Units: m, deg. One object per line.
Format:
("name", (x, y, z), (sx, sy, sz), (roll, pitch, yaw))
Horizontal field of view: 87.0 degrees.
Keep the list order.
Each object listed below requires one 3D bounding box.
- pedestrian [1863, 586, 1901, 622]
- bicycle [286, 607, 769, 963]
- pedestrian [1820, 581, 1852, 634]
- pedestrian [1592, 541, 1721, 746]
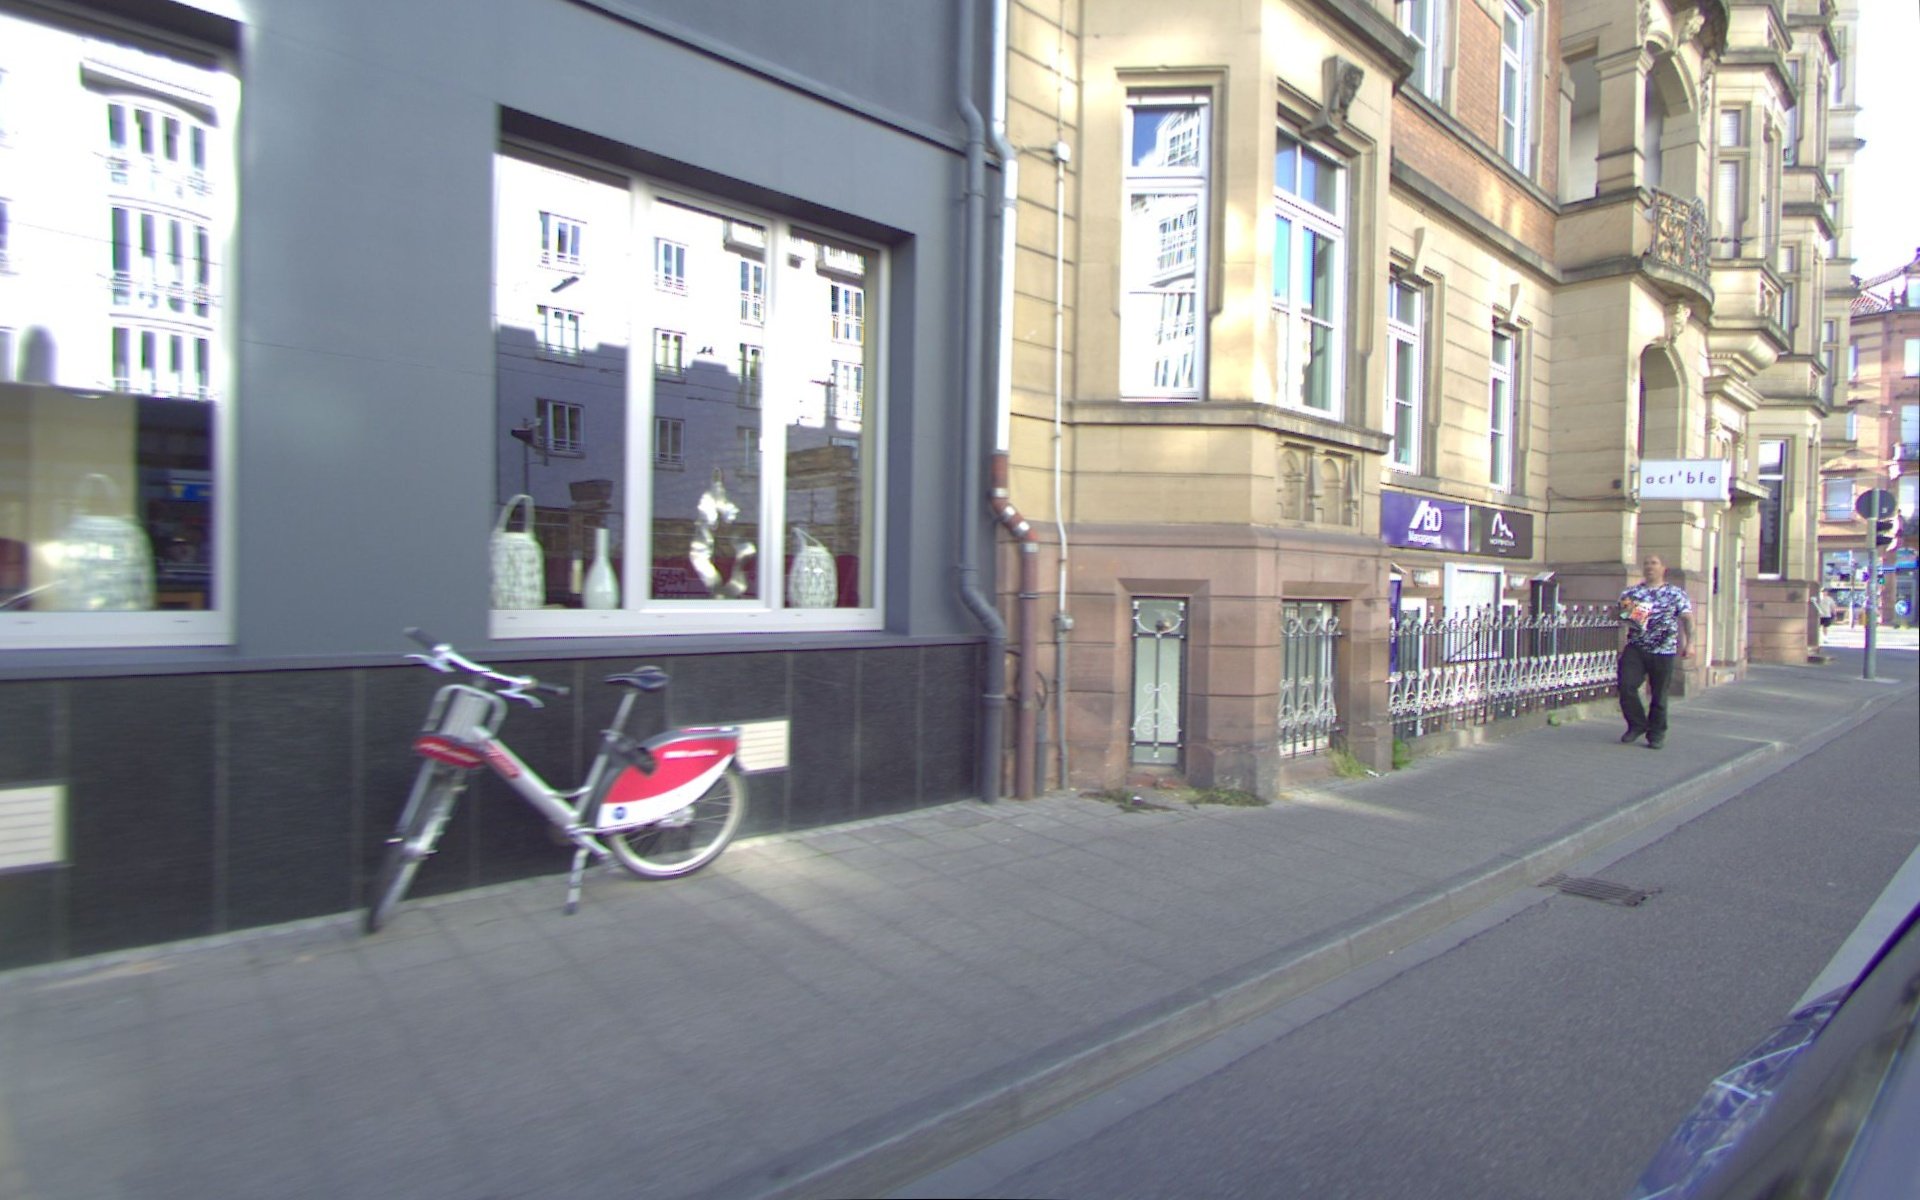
("pedestrian", (43.979, 0.174, 48.265), (0.907, 1.652, 0.943), (0, 2, -5))
("bicycle", (-1.661, 0.620, 4.097), (1.742, 1.137, 0.460), (-1, 2, -41))
("pedestrian", (27.997, 0.229, 32.351), (0.621, 1.675, 0.701), (-2, 2, -42))
("pedestrian", (6.496, 0.382, 9.433), (1.075, 1.772, 0.780), (2, -1, -44))
